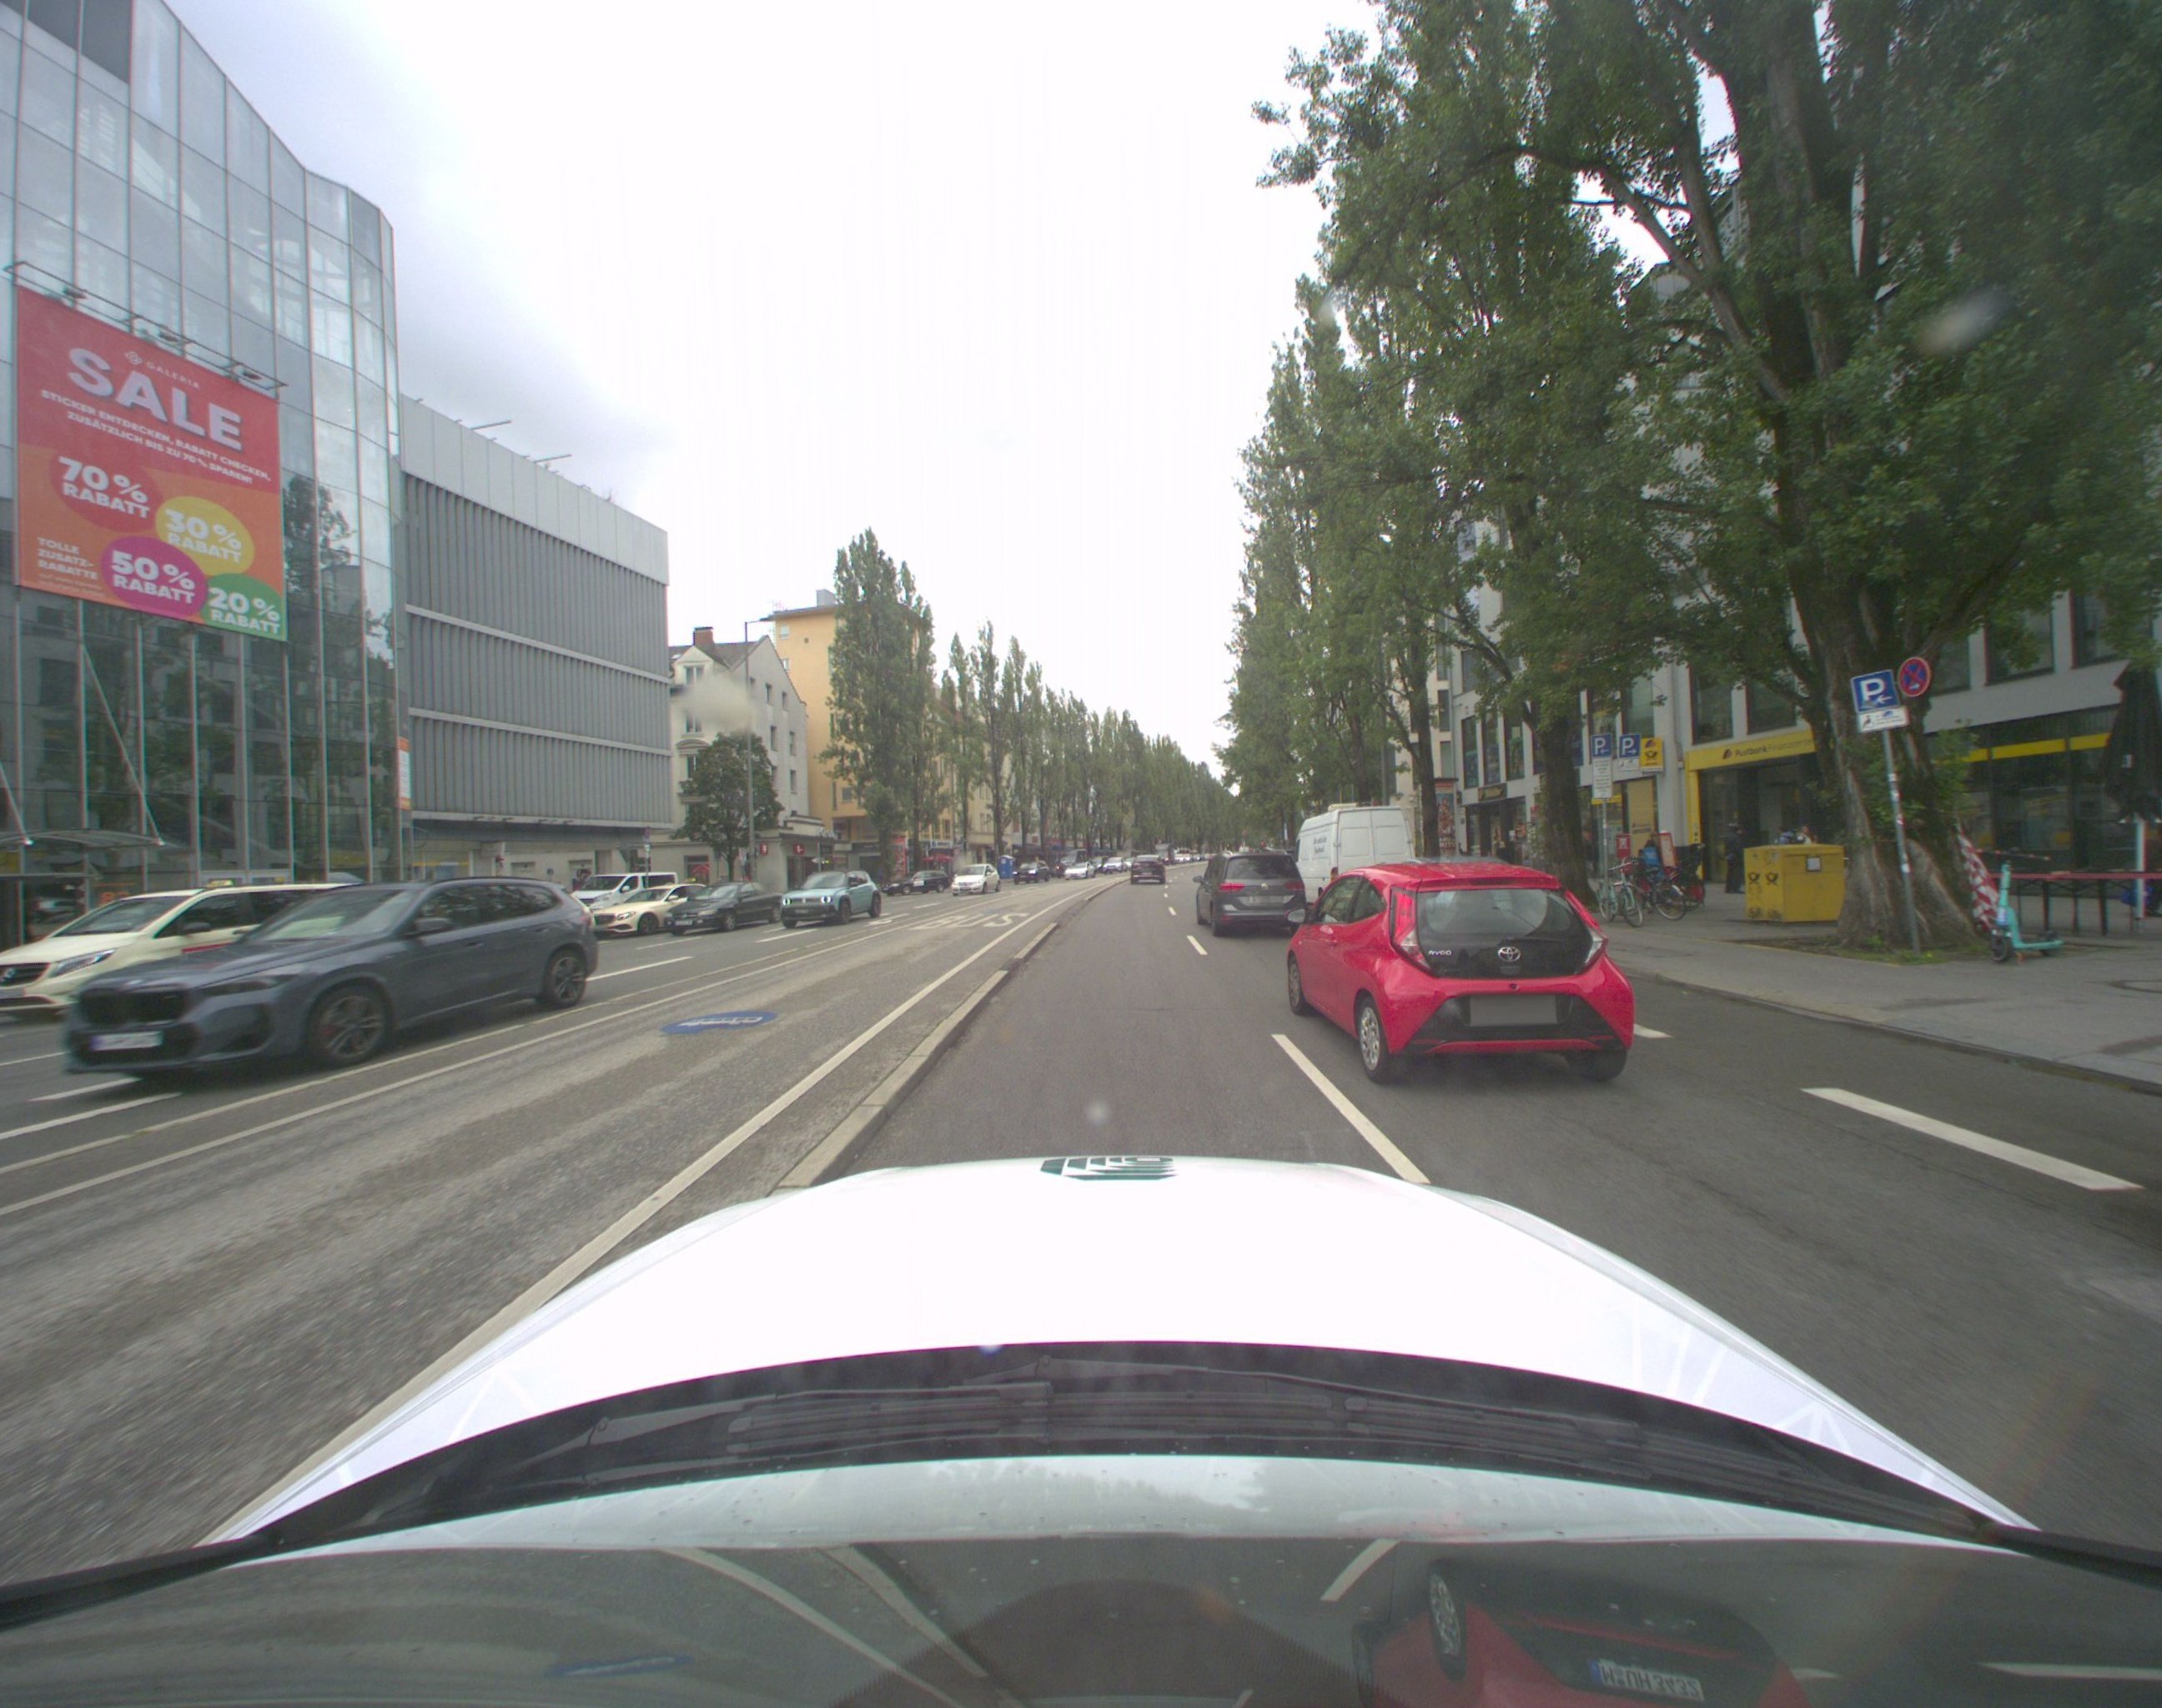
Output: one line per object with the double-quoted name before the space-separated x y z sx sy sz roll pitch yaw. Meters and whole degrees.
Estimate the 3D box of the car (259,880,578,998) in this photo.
"car" -11.481 1.379 14.619 1.985 1.600 4.293 -3 0 3

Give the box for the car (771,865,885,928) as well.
"car" -7.377 1.187 24.200 1.809 1.545 4.004 -5 -1 4

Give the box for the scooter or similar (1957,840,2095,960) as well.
"scooter or similar" 10.447 0.486 9.003 1.468 1.207 0.398 -3 -1 -17

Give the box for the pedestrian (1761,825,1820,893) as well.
"pedestrian" 17.215 0.126 19.772 0.688 1.585 0.773 -2 0 1

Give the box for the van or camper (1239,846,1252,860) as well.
"van or camper" 29.629 -0.158 146.468 2.020 2.476 4.015 -2 -2 14

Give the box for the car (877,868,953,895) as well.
"car" -10.404 1.708 51.216 1.903 1.439 4.536 -3 -1 36

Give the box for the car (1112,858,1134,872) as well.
"car" 5.429 1.366 104.800 1.979 1.651 4.654 -4 -1 14

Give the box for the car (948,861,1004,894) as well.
"car" -5.591 1.230 43.880 1.942 1.589 4.009 -3 0 8

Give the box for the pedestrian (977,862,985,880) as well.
"pedestrian" -10.343 1.762 84.300 0.535 1.747 0.758 -2 0 14

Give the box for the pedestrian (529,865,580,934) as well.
"pedestrian" -14.694 1.258 22.746 0.781 1.867 0.848 -2 -1 8

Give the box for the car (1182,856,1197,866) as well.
"car" 18.449 1.198 138.753 1.926 1.642 4.480 -3 -1 14

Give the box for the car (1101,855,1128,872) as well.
"car" 3.450 0.949 82.773 1.896 1.603 4.371 -3 0 13

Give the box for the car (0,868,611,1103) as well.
"car" -7.244 1.041 8.389 1.985 1.621 4.417 -4 0 3

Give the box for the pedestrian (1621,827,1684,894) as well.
"pedestrian" 14.490 0.161 20.672 0.797 1.637 1.023 -2 0 0

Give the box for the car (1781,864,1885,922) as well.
"car" 12.770 0.632 13.880 0.365 0.904 1.497 -3 0 2

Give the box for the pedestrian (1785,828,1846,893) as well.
"pedestrian" 17.933 0.159 19.903 0.762 1.535 0.708 -3 -1 -2

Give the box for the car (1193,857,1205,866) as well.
"car" 22.133 1.447 152.498 1.655 1.596 4.015 -1 -1 14

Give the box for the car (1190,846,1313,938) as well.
"car" 3.370 0.701 16.844 1.754 1.614 4.185 -1 0 2

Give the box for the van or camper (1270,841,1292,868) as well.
"van or camper" 24.818 0.020 100.960 2.442 3.112 4.735 -3 -1 15

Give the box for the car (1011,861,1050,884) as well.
"car" -4.020 1.453 65.767 2.006 1.716 4.996 -3 0 10

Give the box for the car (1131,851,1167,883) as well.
"car" 3.854 0.688 46.096 1.872 1.642 4.589 -3 0 5

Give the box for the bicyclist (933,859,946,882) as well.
"bicyclist" -10.190 1.173 58.642 0.498 1.592 0.838 -3 -1 14

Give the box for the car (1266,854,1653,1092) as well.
"car" 2.736 0.761 6.825 1.659 1.446 3.597 -1 -1 2

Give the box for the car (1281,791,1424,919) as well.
"car" 6.544 0.072 20.395 1.985 2.742 5.559 -1 -1 3

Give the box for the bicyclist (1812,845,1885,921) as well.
"bicyclist" 12.725 0.474 13.519 0.536 1.195 0.642 -3 -1 1

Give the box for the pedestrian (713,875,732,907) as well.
"pedestrian" -17.598 1.807 39.956 0.542 1.495 0.656 -3 -1 6

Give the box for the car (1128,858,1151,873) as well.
"car" 7.075 1.337 97.981 1.980 1.589 5.212 -4 -1 12

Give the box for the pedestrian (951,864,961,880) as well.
"pedestrian" -12.188 1.746 79.248 0.629 1.561 0.819 -3 0 16

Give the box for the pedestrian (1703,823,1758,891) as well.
"pedestrian" 16.314 0.083 20.470 0.688 1.649 0.798 -2 0 1

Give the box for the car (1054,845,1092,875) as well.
"car" -0.717 0.553 78.607 2.155 2.605 6.086 -3 -1 13

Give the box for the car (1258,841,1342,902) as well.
"car" 7.008 0.527 26.560 1.919 1.805 4.788 -1 0 6

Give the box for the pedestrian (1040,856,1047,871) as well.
"pedestrian" -4.844 1.210 106.181 0.633 1.862 0.650 -3 -1 14

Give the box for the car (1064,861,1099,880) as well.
"car" 0.099 1.393 69.140 1.786 1.394 4.708 -3 0 14

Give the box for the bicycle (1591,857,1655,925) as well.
"bicycle" 9.928 0.643 14.974 0.473 1.160 1.833 -2 0 18

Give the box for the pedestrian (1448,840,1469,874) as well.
"pedestrian" 18.359 0.149 39.640 0.565 1.576 0.672 -2 -1 -22

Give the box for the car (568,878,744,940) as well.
"car" -13.037 1.626 25.408 1.843 1.469 5.003 -5 -1 16

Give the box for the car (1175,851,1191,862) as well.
"car" 16.222 0.405 129.472 1.847 1.711 4.553 -4 -1 14

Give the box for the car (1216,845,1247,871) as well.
"car" 10.151 0.292 54.992 1.913 1.700 4.663 -1 -1 10

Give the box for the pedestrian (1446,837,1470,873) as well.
"pedestrian" 16.583 0.050 35.837 0.679 1.558 0.751 -3 0 3

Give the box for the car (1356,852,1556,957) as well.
"car" 5.877 0.700 13.332 1.716 1.454 4.154 0 0 6

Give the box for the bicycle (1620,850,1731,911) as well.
"bicycle" 11.826 0.530 16.249 1.616 1.160 0.708 -2 0 14

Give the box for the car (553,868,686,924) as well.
"car" -19.355 1.693 34.499 1.981 2.013 5.127 -3 0 10

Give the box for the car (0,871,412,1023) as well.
"car" -14.994 1.393 14.151 1.984 2.013 5.328 -3 -1 4

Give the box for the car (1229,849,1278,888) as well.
"car" 8.135 0.665 38.689 1.719 1.686 4.415 -1 0 5

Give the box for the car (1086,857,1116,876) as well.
"car" 2.210 1.330 89.585 1.979 1.863 5.733 -4 -1 14

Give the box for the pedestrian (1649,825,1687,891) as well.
"pedestrian" 15.759 0.100 21.873 0.712 1.724 0.744 -4 -1 39

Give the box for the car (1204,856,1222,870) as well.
"car" 15.347 1.035 94.434 1.747 1.619 3.760 -1 -1 13

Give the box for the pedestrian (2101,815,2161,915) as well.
"pedestrian" 16.208 0.169 12.410 0.641 1.476 0.764 -2 -1 40

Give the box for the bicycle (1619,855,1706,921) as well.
"bicycle" 10.819 0.601 15.222 0.475 1.160 1.634 -2 0 2

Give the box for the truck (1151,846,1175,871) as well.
"truck" 11.663 0.606 115.338 2.275 3.323 7.184 -4 -1 14

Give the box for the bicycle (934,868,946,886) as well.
"bicycle" -10.166 1.644 58.623 0.365 1.201 1.158 -3 0 15

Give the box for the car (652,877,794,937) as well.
"car" -10.526 1.504 24.379 1.720 1.409 4.696 -3 0 6

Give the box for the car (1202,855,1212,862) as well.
"car" 26.004 0.897 168.466 1.699 1.414 3.737 -3 0 14
